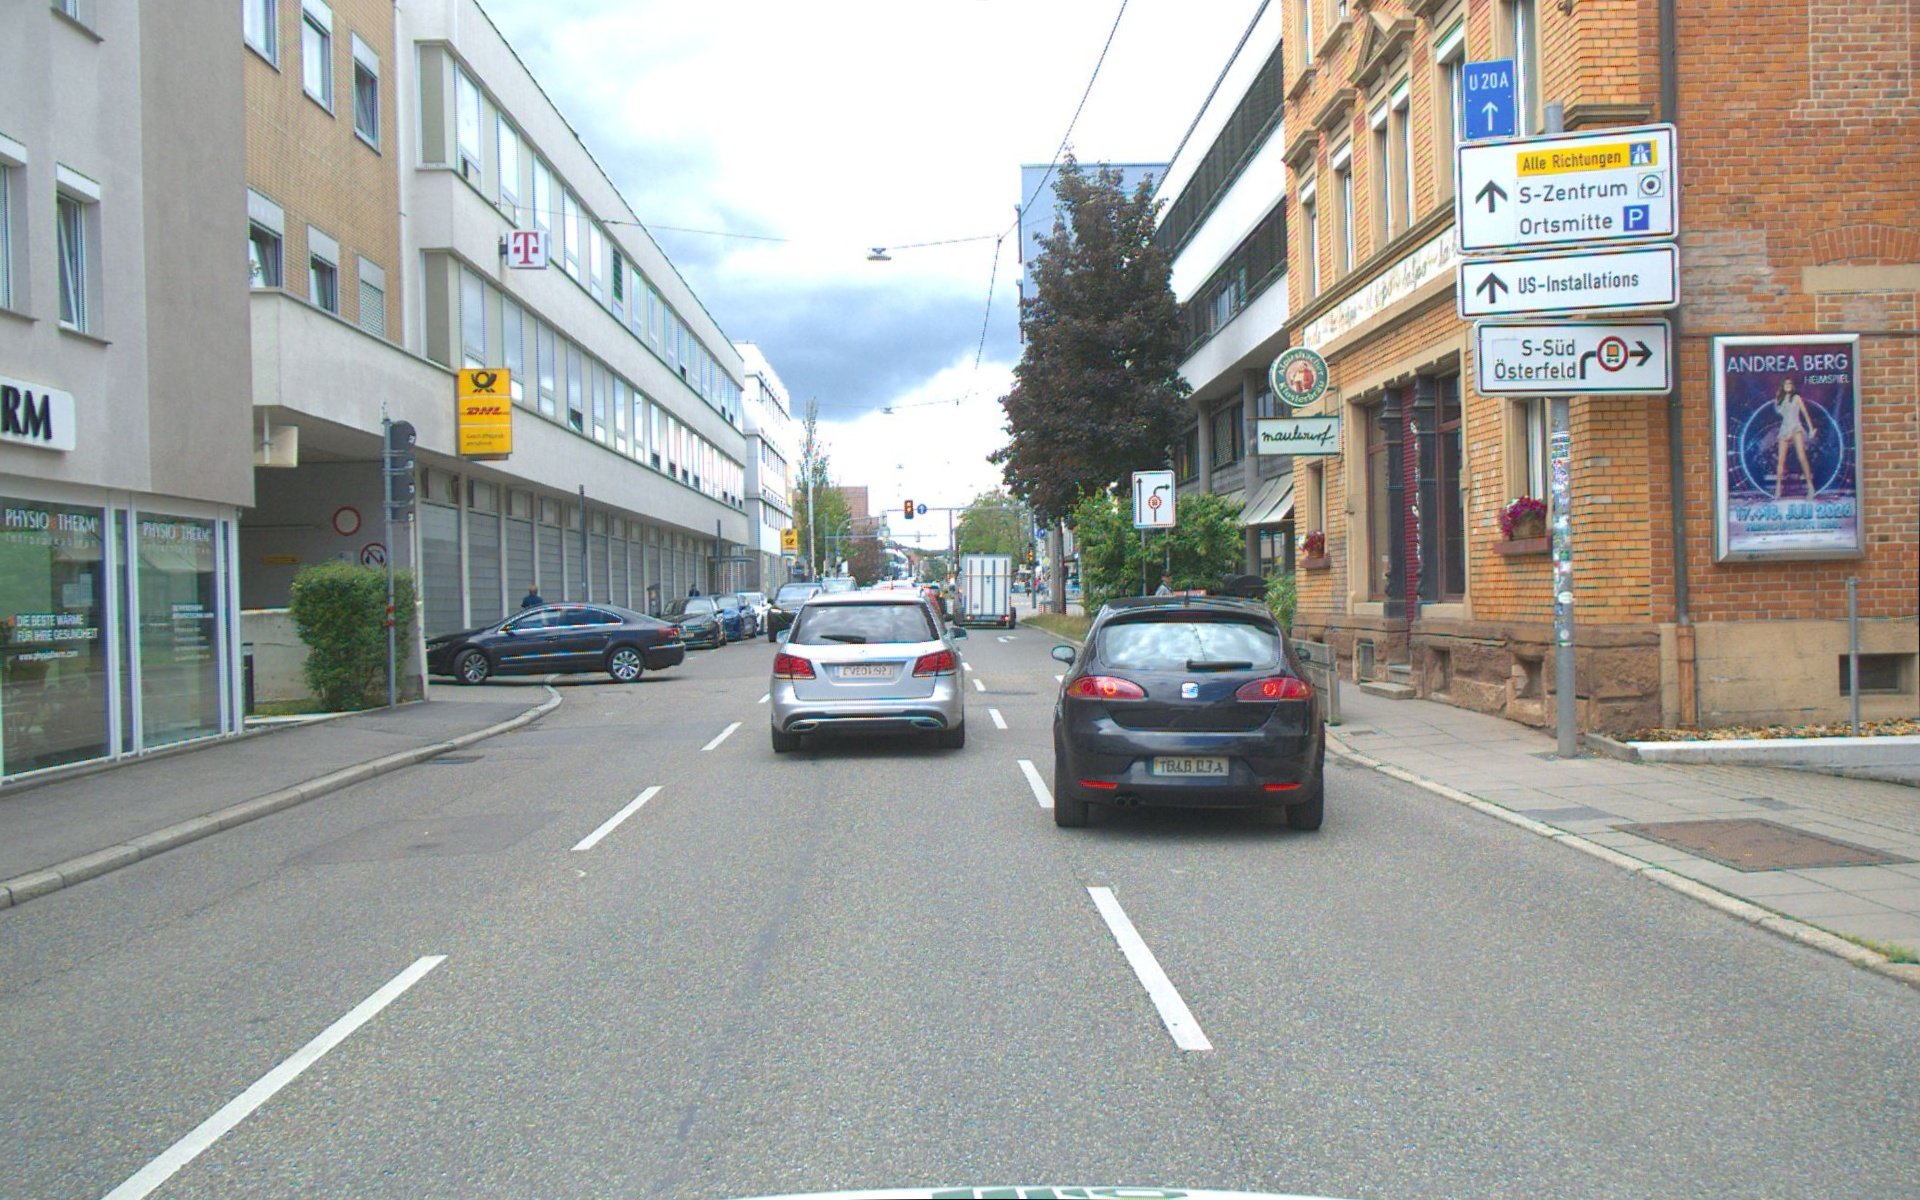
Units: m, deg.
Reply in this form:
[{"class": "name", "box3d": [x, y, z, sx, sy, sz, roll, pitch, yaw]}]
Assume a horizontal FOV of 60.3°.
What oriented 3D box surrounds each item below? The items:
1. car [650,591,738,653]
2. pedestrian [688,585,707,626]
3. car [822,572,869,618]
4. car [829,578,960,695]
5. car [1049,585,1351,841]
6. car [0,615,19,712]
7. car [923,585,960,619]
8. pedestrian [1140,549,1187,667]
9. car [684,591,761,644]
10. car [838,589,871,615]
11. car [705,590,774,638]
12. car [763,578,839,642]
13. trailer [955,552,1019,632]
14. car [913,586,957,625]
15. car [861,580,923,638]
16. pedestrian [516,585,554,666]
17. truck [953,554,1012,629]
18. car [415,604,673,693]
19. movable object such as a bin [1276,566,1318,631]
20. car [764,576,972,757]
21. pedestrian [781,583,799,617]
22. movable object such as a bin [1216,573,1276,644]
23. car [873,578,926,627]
[{"class": "car", "box3d": [-7.479, 0.581, 46.797, 1.874, 1.543, 4.173, -3, 1, -2]}, {"class": "pedestrian", "box3d": [-10.830, 0.232, 68.158, 0.642, 1.651, 0.681, -1, 0, 0]}, {"class": "car", "box3d": [-5.479, -0.248, 79.596, 1.954, 2.048, 4.900, -3, 1, -2]}, {"class": "car", "box3d": [-0.968, 0.490, 24.787, 1.767, 1.580, 3.736, -2, 1, -2]}, {"class": "car", "box3d": [1.574, 0.653, 11.648, 1.728, 1.458, 3.831, -1, 1, 5]}, {"class": "car", "box3d": [-15.662, 0.985, 24.196, 1.718, 1.482, 3.690, 0, 0, -1]}, {"class": "car", "box3d": [-0.957, 0.083, 83.446, 1.767, 1.629, 3.736, 0, 0, -2]}, {"class": "pedestrian", "box3d": [3.608, 0.136, 29.422, 0.679, 2.049, 0.676, -1, 0, -3]}, {"class": "car", "box3d": [-7.483, 0.527, 52.440, 1.953, 1.543, 4.173, -2, 1, -2]}, {"class": "car", "box3d": [-6.156, 0.104, 96.600, 1.733, 1.438, 4.173, -3, 1, -2]}, {"class": "car", "box3d": [-7.704, 0.465, 58.138, 1.953, 1.543, 4.173, -2, 1, -2]}, {"class": "car", "box3d": [-4.804, 0.272, 50.557, 1.954, 1.769, 4.552, -3, 1, -2]}, {"class": "trailer", "box3d": [0.905, -0.294, 58.571, 1.953, 2.653, 5.347, -2, 0, -2]}, {"class": "car", "box3d": [-1.091, 0.203, 70.655, 1.767, 1.629, 3.736, 0, 0, -2]}, {"class": "car", "box3d": [-2.016, 0.241, 49.234, 1.767, 1.629, 3.736, 0, 0, -2]}, {"class": "pedestrian", "box3d": [-9.749, 0.575, 37.935, 0.630, 1.800, 0.809, -2, 0, -3]}, {"class": "truck", "box3d": [0.807, -0.327, 61.343, 1.953, 2.653, 3.259, -2, 0, -2]}, {"class": "car", "box3d": [-7.347, 0.829, 29.600, 4.318, 1.389, 1.781, -2, 1, -10]}, {"class": "movable object such as a bin", "box3d": [8.339, -0.037, 40.968, 0.804, 1.530, 0.732, -4, -1, 0]}, {"class": "car", "box3d": [-0.861, 0.562, 16.237, 1.767, 1.518, 3.736, -2, 1, -2]}, {"class": "pedestrian", "box3d": [-9.835, -0.007, 95.794, 0.900, 1.901, 0.783, -2, 0, -2]}, {"class": "movable object such as a bin", "box3d": [6.338, 0.181, 36.770, 0.924, 1.495, 1.444, -3, 0, -4]}, {"class": "car", "box3d": [-2.081, 0.065, 57.027, 1.767, 1.629, 3.736, 0, 0, -2]}]
